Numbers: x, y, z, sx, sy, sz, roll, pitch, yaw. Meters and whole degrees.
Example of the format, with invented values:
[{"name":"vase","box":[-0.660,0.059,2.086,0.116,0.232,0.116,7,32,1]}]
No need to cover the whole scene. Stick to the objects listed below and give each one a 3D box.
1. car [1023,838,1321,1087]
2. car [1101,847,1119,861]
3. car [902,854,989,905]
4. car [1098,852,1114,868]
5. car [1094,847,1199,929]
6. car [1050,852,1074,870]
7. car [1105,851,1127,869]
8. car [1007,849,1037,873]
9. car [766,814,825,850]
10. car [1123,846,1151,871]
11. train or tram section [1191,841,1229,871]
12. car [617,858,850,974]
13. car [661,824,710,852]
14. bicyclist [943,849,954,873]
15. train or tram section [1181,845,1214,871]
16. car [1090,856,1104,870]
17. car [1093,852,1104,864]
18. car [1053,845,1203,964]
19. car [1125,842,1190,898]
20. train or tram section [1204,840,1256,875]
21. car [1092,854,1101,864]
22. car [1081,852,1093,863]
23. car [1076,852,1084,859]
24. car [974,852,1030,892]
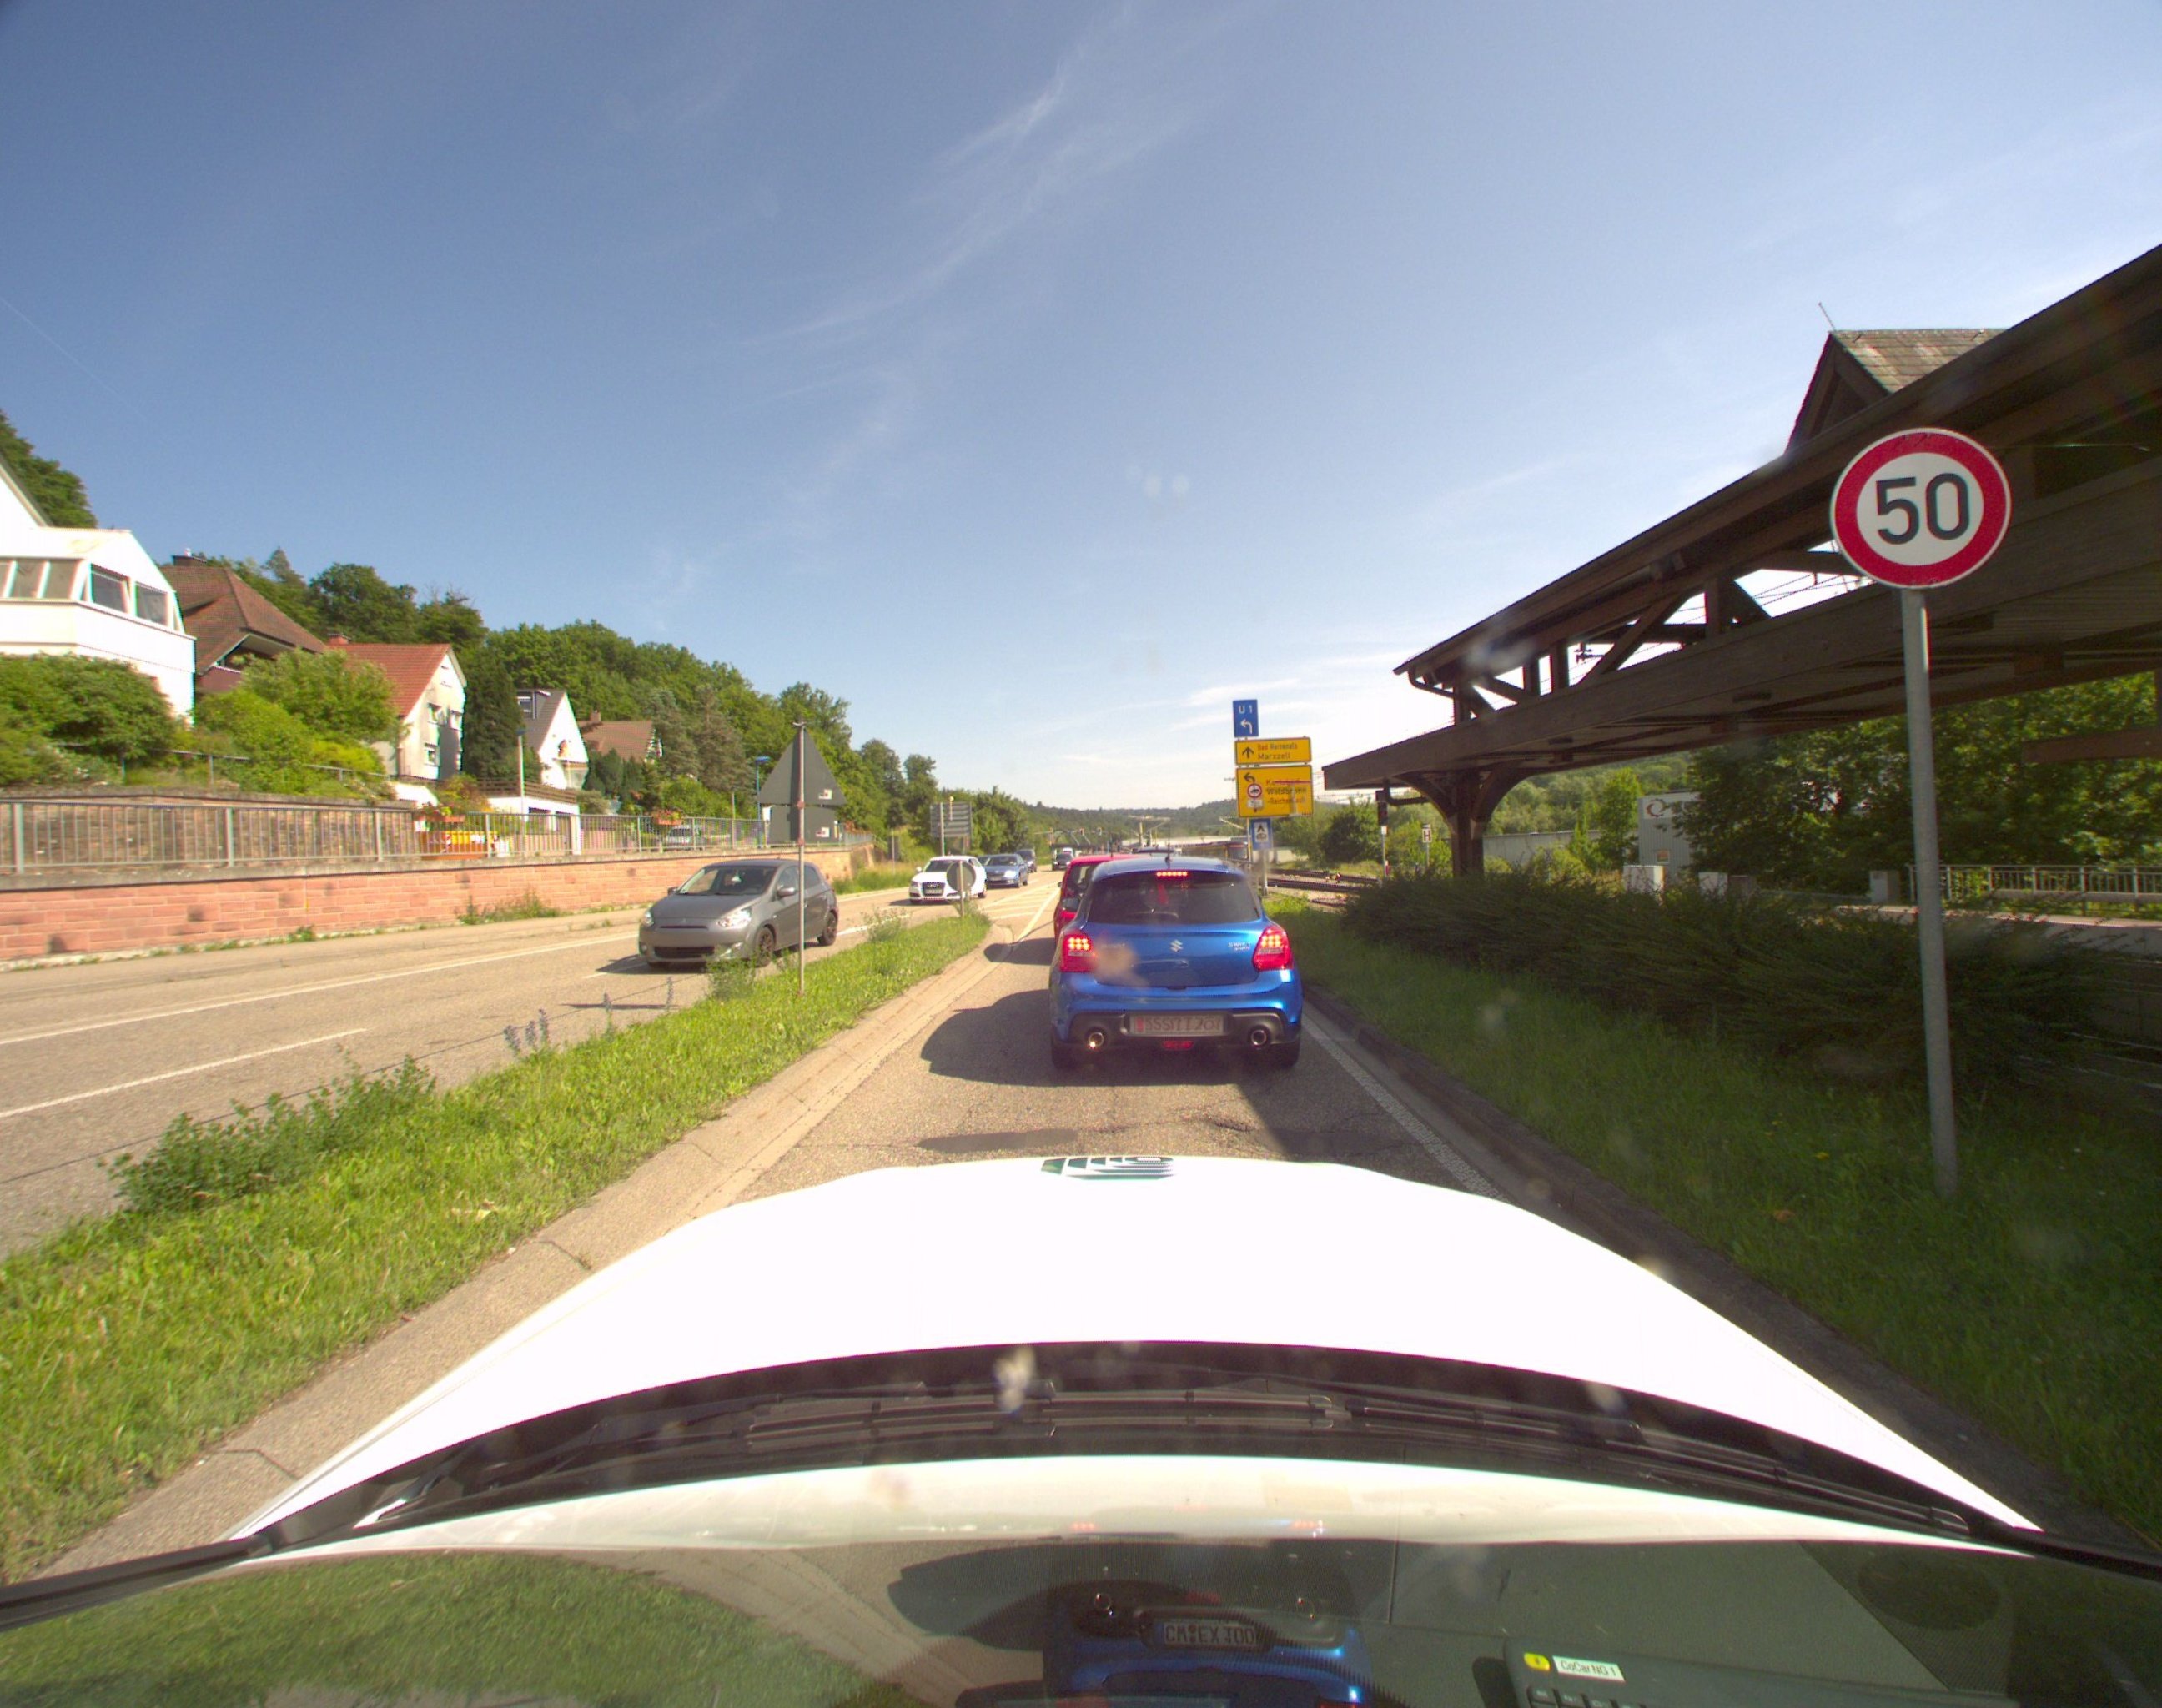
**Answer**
[{"name":"car","box":[0.614,0.677,7.144,1.862,1.548,4.001,-1,0,1]},{"name":"car","box":[3.349,-0.005,93.577,1.824,1.493,3.815,1,1,4]},{"name":"car","box":[-4.125,0.726,25.336,1.825,1.369,3.953,0,1,3]},{"name":"car","box":[3.292,0.726,107.821,1.986,2.013,4.002,0,1,2]},{"name":"car","box":[1.410,0.645,18.071,1.985,1.531,4.606,-2,0,3]},{"name":"car","box":[-1.554,0.566,68.339,1.826,1.431,3.812,0,1,1]},{"name":"car","box":[3.109,0.511,71.297,1.824,1.431,3.815,1,1,4]},{"name":"car","box":[-4.538,0.512,63.504,1.825,1.713,3.814,1,1,3]},{"name":"car","box":[-16.102,-1.241,46.114,2.017,1.920,4.724,0,1,-5]},{"name":"car","box":[4.122,0.329,59.809,1.985,1.736,4.004,1,0,3]},{"name":"train or tram section","box":[15.590,0.267,99.103,2.777,3.364,12.046,0,0,0]},{"name":"car","box":[-4.978,0.806,12.294,1.665,1.441,3.843,-1,0,3]},{"name":"car","box":[-24.460,-0.979,50.488,1.898,1.629,3.981,-1,0,-14]},{"name":"bicyclist","box":[-8.424,0.445,51.674,0.627,1.507,0.506,0,1,-2]},{"name":"train or tram section","box":[15.708,0.586,110.826,2.747,3.364,12.046,0,-1,0]},{"name":"car","box":[2.465,1.310,125.656,1.986,2.013,4.002,0,1,2]},{"name":"car","box":[3.245,0.705,151.663,1.986,2.013,4.002,0,1,2]},{"name":"car","box":[0.741,0.673,12.815,1.985,1.571,4.004,0,0,3]},{"name":"car","box":[2.474,0.471,27.173,1.985,1.686,4.501,1,0,3]},{"name":"train or tram section","box":[15.510,0.321,86.045,2.846,3.365,14.353,-1,0,0]},{"name":"car","box":[3.370,1.029,174.594,1.986,2.013,4.002,0,1,2]},{"name":"car","box":[0.986,0.587,140.363,1.986,1.783,4.002,0,0,2]},{"name":"car","box":[-0.247,0.344,226.756,1.991,1.816,3.993,0,1,-5]},{"name":"car","box":[-3.350,0.726,35.298,1.825,1.468,3.815,1,2,3]}]
